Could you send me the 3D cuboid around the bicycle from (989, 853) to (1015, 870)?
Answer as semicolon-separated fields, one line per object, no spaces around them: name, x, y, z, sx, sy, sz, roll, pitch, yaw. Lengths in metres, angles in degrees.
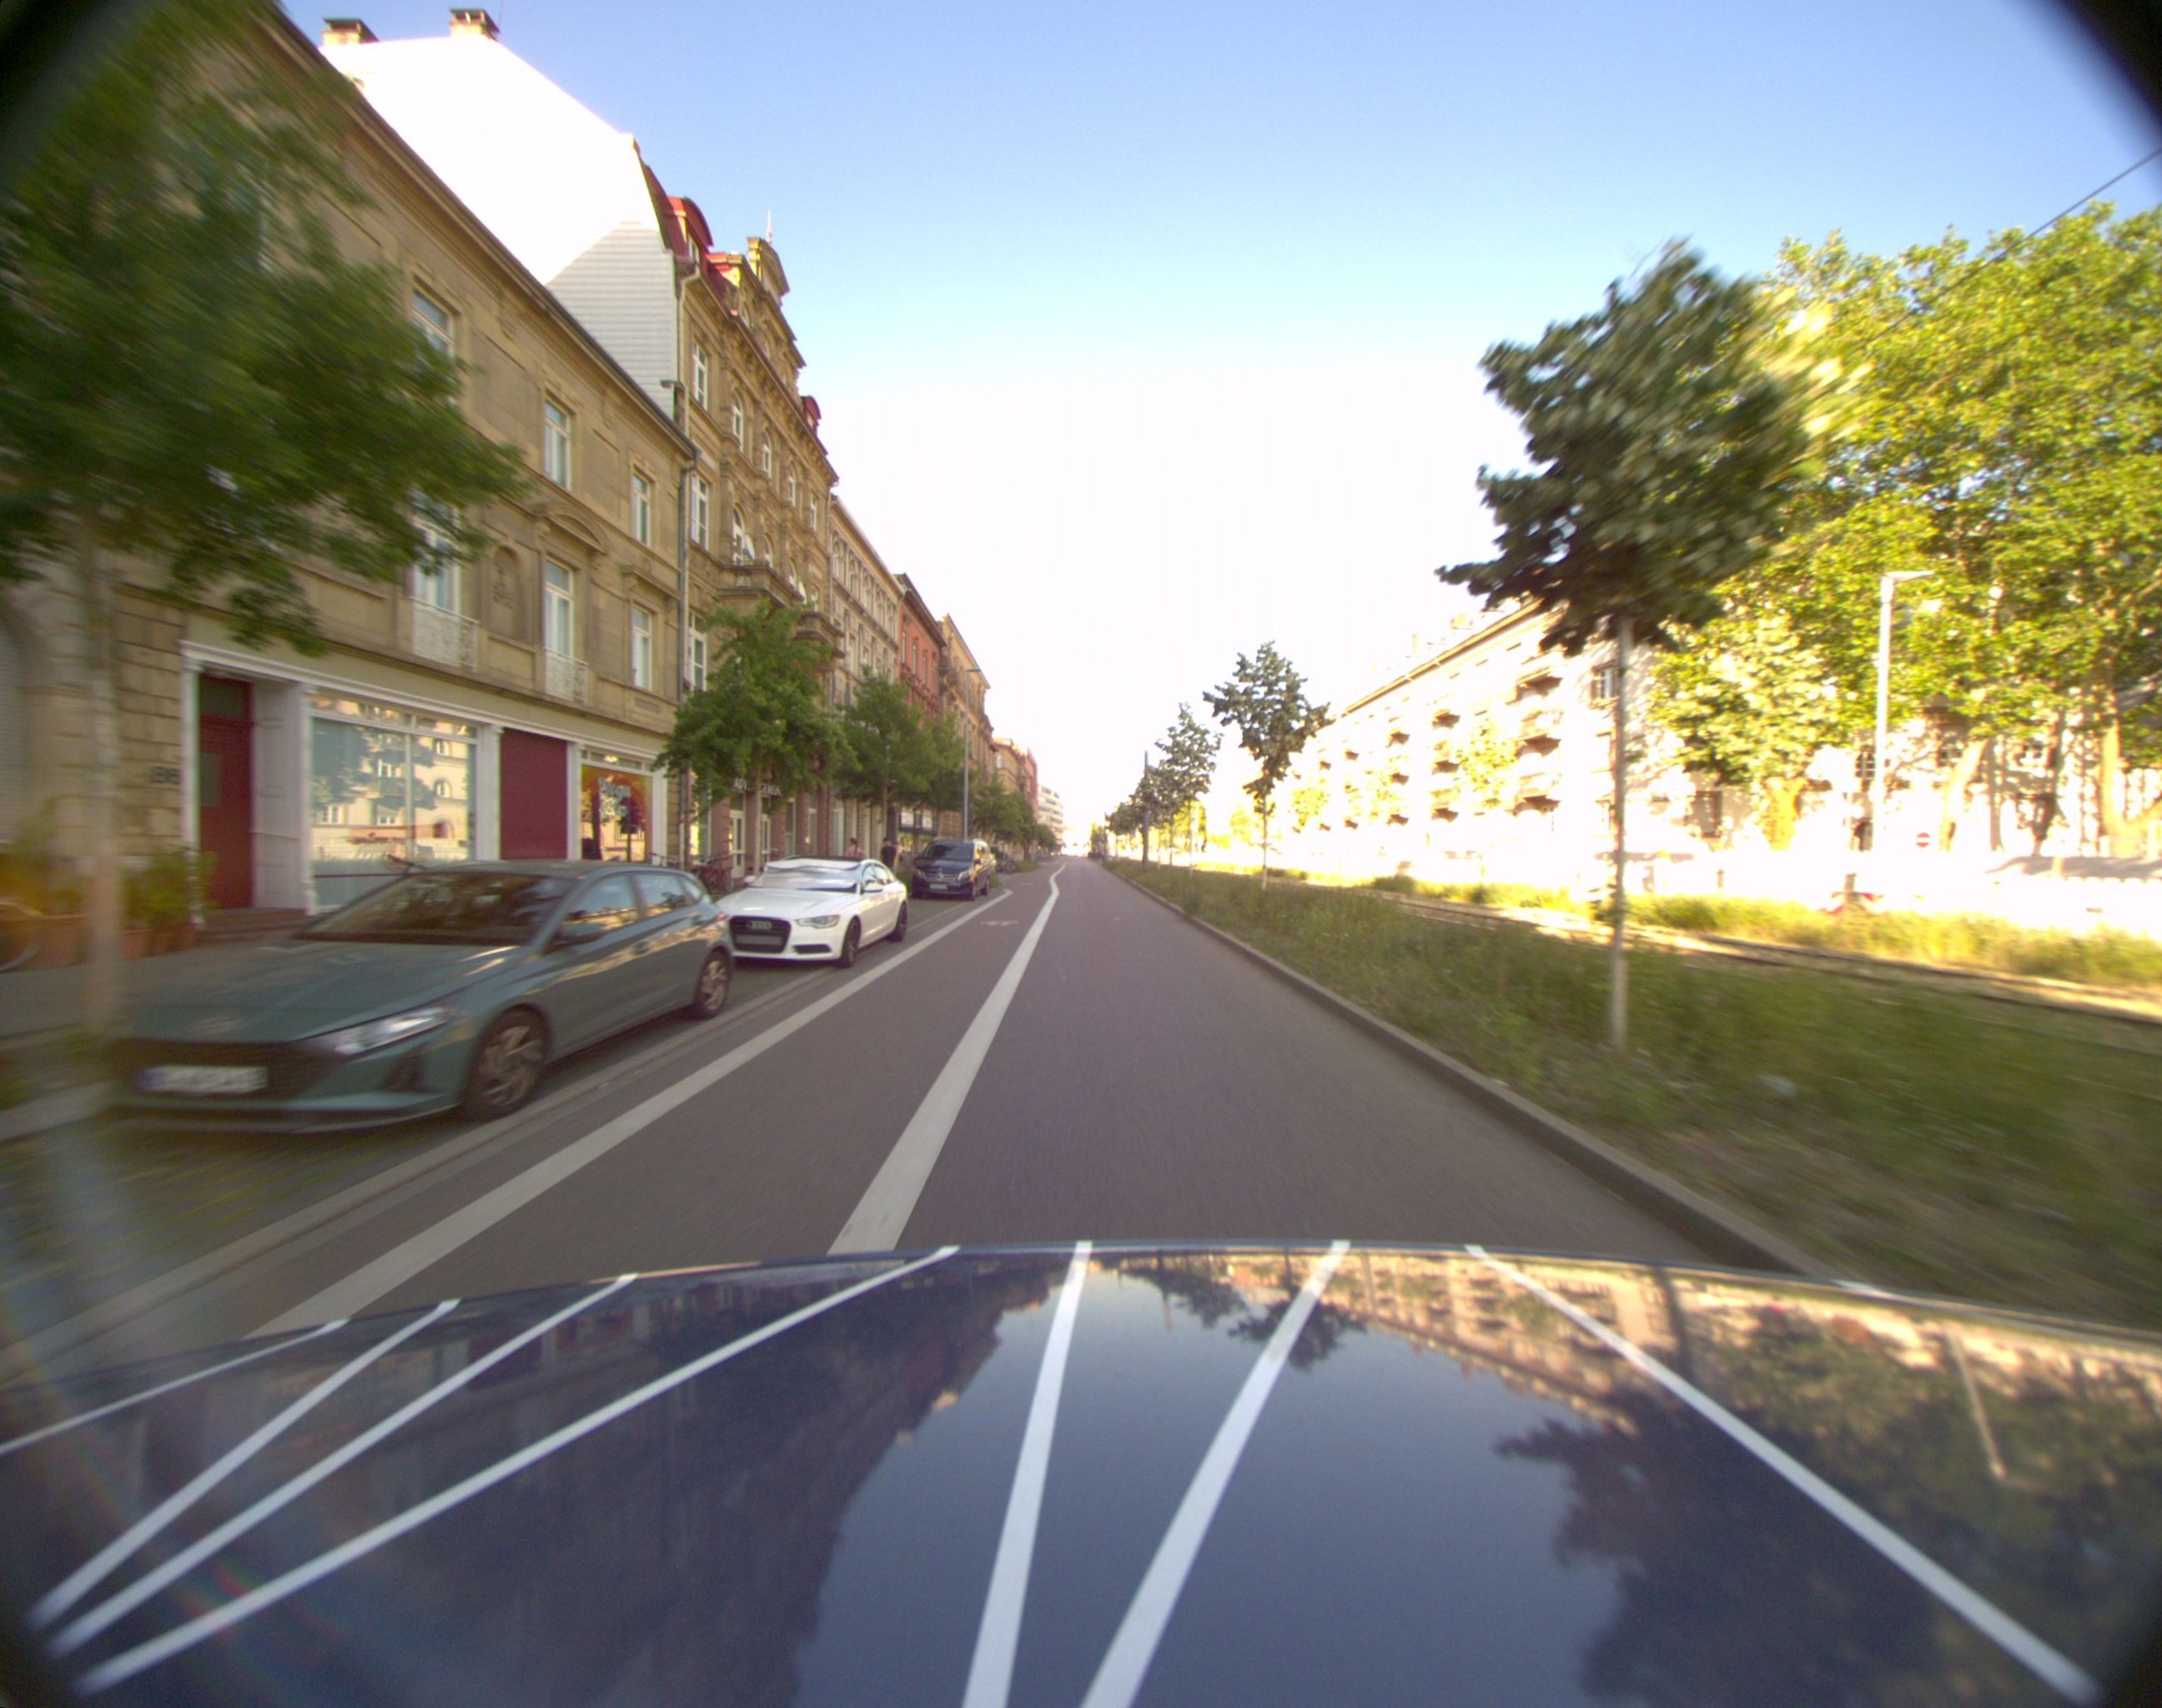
bicycle;-5.261;0.520;50.798;1.692;1.112;0.530;0;1;2

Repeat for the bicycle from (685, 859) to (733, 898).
bicycle;-10.646;0.667;21.837;0.344;1.027;2.072;0;1;0

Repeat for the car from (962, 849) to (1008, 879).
car;-5.177;0.508;41.529;1.694;1.476;4.743;2;0;2

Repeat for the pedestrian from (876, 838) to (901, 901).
pedestrian;-5.462;0.433;21.556;0.470;1.768;0.506;0;1;20

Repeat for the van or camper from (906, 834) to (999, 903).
van or camper;-4.065;0.400;24.987;1.965;1.960;5.487;2;0;1

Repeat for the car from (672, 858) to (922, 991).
car;-3.907;0.847;11.603;1.853;1.445;5.251;2;0;-1

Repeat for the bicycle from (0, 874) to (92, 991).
bicycle;-10.292;0.747;6.898;0.385;1.074;1.676;0;1;1

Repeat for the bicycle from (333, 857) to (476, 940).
bicycle;-10.570;0.649;11.967;0.721;1.188;1.772;0;1;-3

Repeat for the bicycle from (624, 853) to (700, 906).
bicycle;-10.434;0.601;19.014;0.706;1.213;2.072;0;1;0

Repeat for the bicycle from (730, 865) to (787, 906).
bicycle;-7.892;0.759;18.668;0.656;0.910;1.682;0;1;0

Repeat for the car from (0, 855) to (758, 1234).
car;-4.224;0.838;5.472;1.853;1.555;4.296;2;0;1

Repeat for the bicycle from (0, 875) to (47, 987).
bicycle;-10.681;0.759;6.847;0.385;1.074;1.676;0;1;1

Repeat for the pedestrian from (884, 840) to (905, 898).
pedestrian;-5.529;0.435;22.529;0.505;1.718;0.490;0;1;-1

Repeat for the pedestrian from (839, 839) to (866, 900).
pedestrian;-6.548;0.430;21.786;0.578;1.718;0.481;-1;2;-45

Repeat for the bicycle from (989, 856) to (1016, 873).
bicycle;-4.893;0.630;47.467;1.613;1.046;0.478;0;1;2

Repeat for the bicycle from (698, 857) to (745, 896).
bicycle;-10.297;0.620;21.837;0.325;1.058;2.072;0;1;0

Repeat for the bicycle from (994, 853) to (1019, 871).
bicycle;-4.934;0.528;50.155;1.584;1.112;0.577;0;1;2

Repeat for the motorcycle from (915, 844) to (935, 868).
motorcycle;-9.718;0.120;47.299;0.788;1.413;2.053;0;1;1

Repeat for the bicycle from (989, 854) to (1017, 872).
bicycle;-5.012;0.565;48.847;1.692;1.112;0.530;0;1;2
